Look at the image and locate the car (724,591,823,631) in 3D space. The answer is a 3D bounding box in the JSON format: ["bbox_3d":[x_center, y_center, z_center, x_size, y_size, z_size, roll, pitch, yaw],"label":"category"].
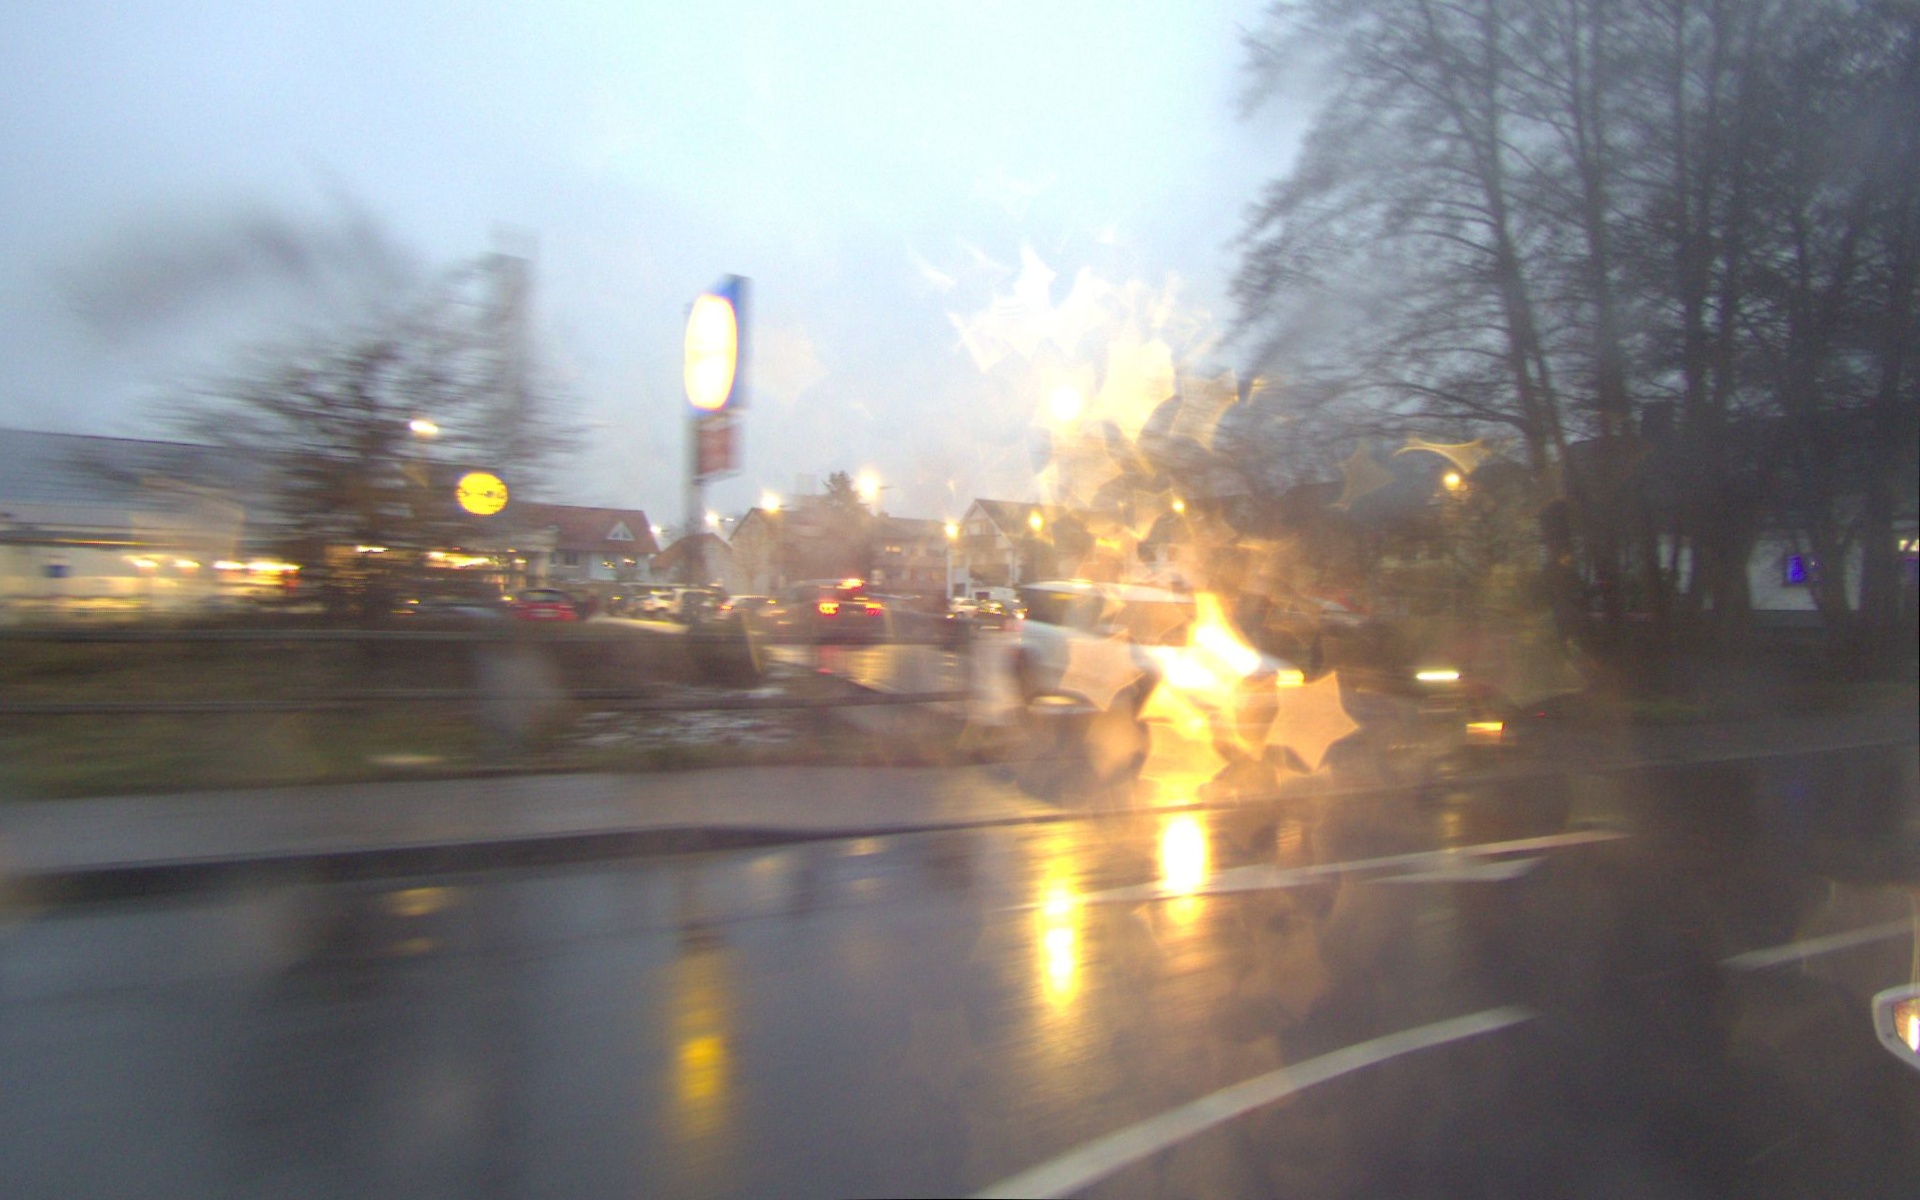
[{"bbox_3d":[-8.282,0.449,44.776,3.963,1.639,1.897,-1,3,-38],"label":"car"}]

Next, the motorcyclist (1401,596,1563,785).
[{"bbox_3d":[4.513,0.739,8.710,0.898,1.505,0.861,1,1,-30],"label":"motorcyclist"}]

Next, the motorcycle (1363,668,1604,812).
[{"bbox_3d":[4.588,1.159,8.772,2.085,1.037,0.861,1,1,-30],"label":"motorcycle"}]

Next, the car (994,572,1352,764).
[{"bbox_3d":[2.287,0.628,11.998,1.876,1.722,4.208,1,3,-28],"label":"car"}]

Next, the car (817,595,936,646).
[{"bbox_3d":[-3.027,0.695,36.663,3.963,1.639,1.897,-1,3,-38],"label":"car"}]

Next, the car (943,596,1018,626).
[{"bbox_3d":[1.322,0.673,64.069,4.469,1.662,1.919,-1,4,-33],"label":"car"}]

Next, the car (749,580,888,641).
[{"bbox_3d":[-4.263,0.262,29.816,1.955,1.694,4.364,-1,1,-43],"label":"car"}]

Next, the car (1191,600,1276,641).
[{"bbox_3d":[12.346,0.893,45.311,3.670,1.662,1.684,-1,4,-33],"label":"car"}]

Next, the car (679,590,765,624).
[{"bbox_3d":[-12.316,0.329,52.095,3.963,1.639,1.897,-1,3,-38],"label":"car"}]

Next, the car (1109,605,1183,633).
[{"bbox_3d":[8.964,0.879,48.297,3.356,1.146,1.551,-1,4,-33],"label":"car"}]

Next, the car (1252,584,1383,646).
[{"bbox_3d":[14.505,0.537,40.690,5.211,2.310,2.267,-1,3,-33],"label":"car"}]

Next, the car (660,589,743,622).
[{"bbox_3d":[-14.120,0.268,54.920,3.963,1.639,1.897,-1,3,-38],"label":"car"}]

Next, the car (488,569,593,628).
[{"bbox_3d":[-12.402,-0.011,29.531,2.034,1.584,4.403,0,-1,-34],"label":"car"}]

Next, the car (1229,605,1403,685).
[{"bbox_3d":[10.818,1.279,30.818,2.110,2.004,4.608,-1,3,-39],"label":"car"}]

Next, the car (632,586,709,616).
[{"bbox_3d":[-17.044,0.041,59.268,3.963,1.639,1.897,-1,3,-38],"label":"car"}]
